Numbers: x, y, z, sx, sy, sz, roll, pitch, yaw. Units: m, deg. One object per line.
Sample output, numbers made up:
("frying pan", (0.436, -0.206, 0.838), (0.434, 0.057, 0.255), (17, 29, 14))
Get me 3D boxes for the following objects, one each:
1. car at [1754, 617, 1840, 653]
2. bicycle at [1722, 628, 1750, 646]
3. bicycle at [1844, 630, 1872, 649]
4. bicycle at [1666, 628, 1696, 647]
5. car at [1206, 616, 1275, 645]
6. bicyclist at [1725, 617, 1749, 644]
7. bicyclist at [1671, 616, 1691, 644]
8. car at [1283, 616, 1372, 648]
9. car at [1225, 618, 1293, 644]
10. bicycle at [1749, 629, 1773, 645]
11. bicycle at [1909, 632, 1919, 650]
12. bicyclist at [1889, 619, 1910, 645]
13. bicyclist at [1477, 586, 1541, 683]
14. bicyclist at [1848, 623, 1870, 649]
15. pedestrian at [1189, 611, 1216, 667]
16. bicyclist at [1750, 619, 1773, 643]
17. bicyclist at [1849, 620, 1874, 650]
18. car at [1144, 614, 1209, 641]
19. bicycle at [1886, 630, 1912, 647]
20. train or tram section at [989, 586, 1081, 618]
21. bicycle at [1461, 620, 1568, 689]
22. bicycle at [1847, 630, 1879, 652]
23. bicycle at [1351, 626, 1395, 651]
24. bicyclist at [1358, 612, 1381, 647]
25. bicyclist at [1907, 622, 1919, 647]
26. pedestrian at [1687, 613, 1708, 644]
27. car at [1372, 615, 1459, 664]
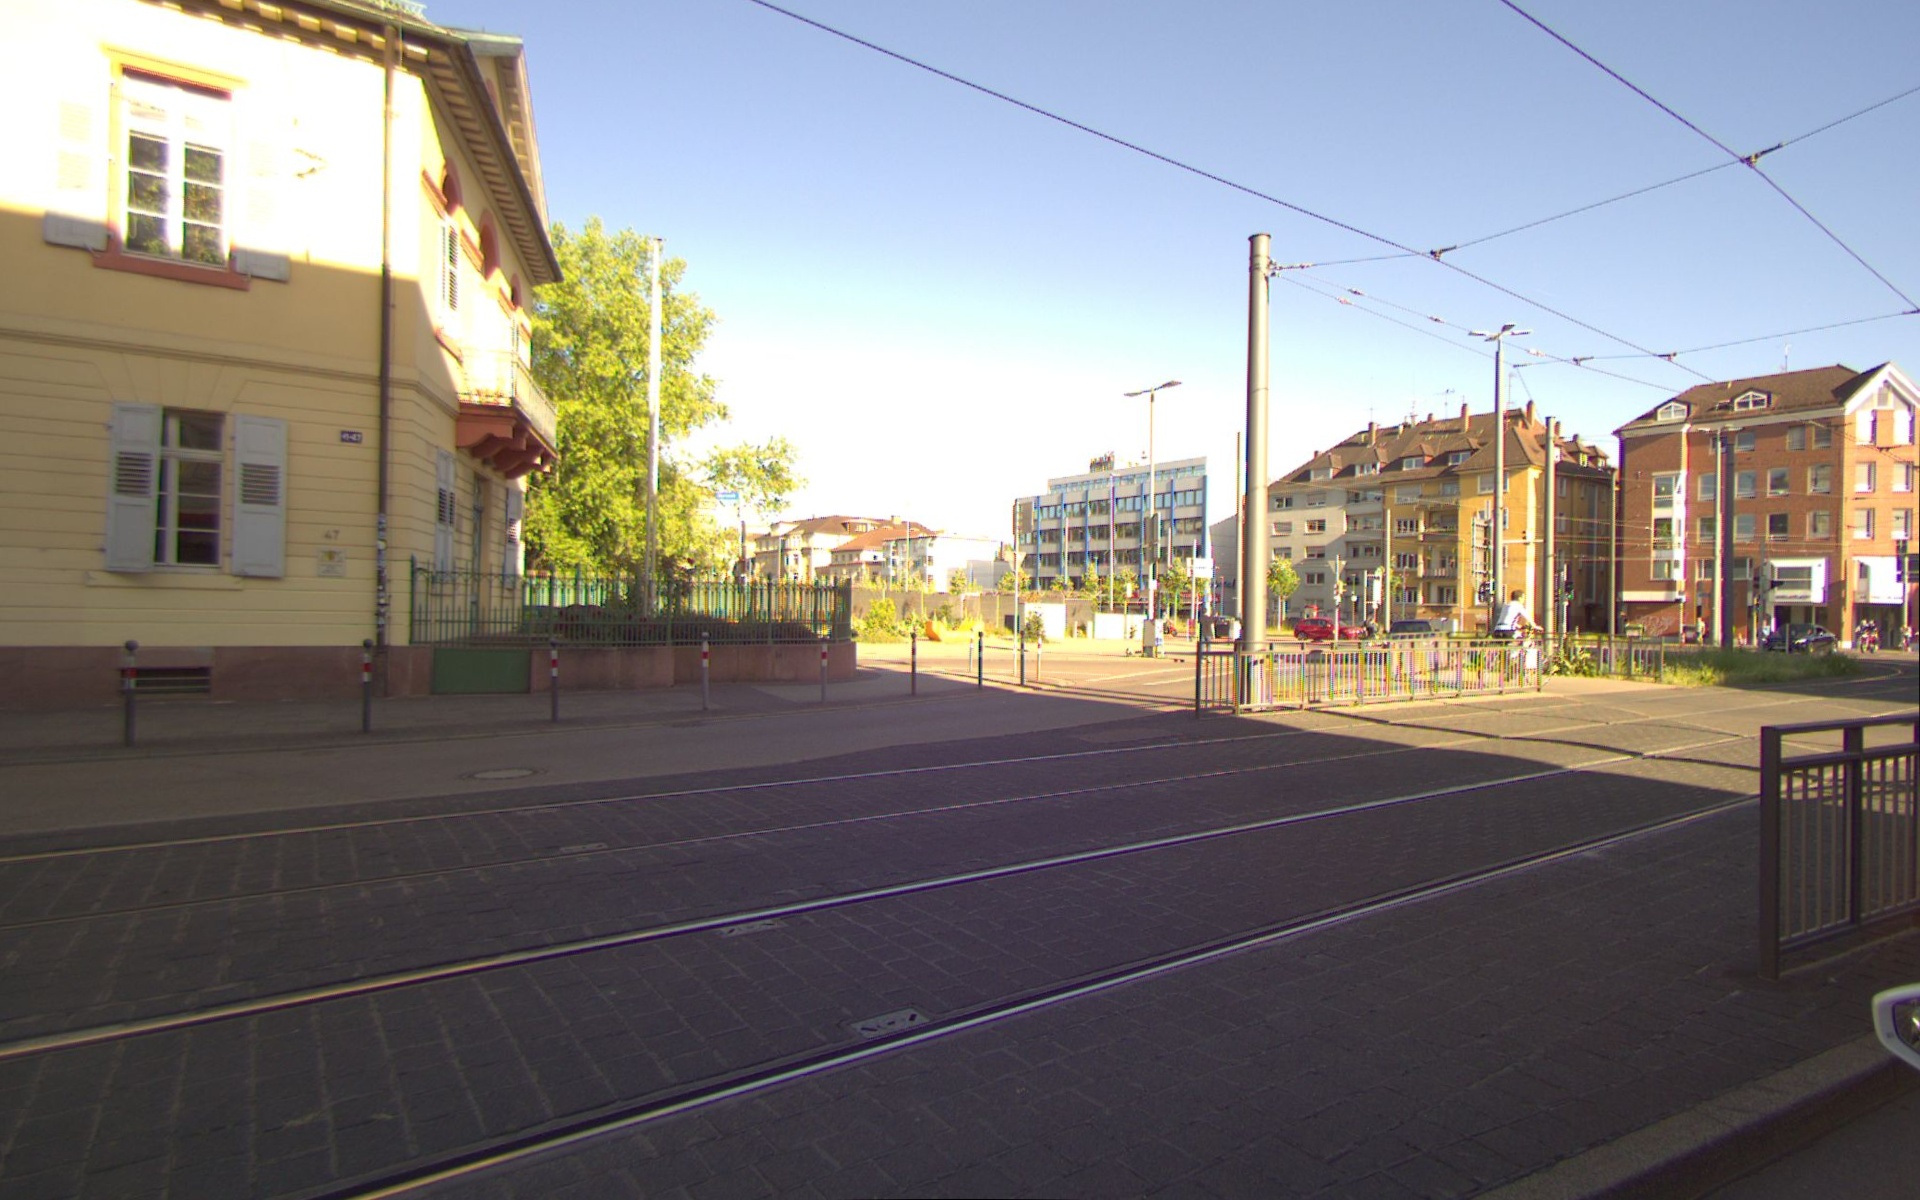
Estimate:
("car", (38.637, 1.625, 46.377), (3.987, 1.547, 1.703), (2, 0, -29))
("bicycle", (45.536, 2.162, 58.920), (2.220, 0.984, 0.521), (2, 0, -31))
("bicycle", (55.089, 2.430, 61.618), (2.197, 1.103, 0.535), (2, 0, -28))
("bicycle", (39.763, 2.060, 55.385), (2.220, 0.984, 0.444), (2, 0, -31))
("car", (18.012, 1.935, 64.582), (1.762, 1.694, 3.955), (2, 0, -39))
("bicyclist", (45.542, 1.782, 58.892), (0.688, 1.523, 0.894), (2, 0, -30))
("bicyclist", (39.771, 1.644, 55.397), (0.688, 1.523, 0.630), (2, 0, -30))
("car", (21.876, 1.879, 59.903), (1.984, 1.723, 4.545), (2, 0, -41))
("car", (19.790, 2.038, 66.655), (1.781, 1.503, 3.949), (2, 0, -43))
("bicycle", (50.377, 2.333, 63.146), (1.669, 0.994, 0.403), (2, 0, -22))
("bicycle", (62.907, 2.682, 65.663), (2.255, 1.103, 0.527), (2, 0, -28))
("bicyclist", (59.770, 2.031, 63.920), (0.737, 1.584, 0.781), (1, 0, -28))
("bicyclist", (10.418, 0.645, 19.085), (0.739, 1.783, 0.758), (2, 0, -7))
("bicyclist", (55.137, 2.194, 61.607), (0.737, 1.584, 0.781), (2, 0, -28))
("pedestrian", (7.571, 1.202, 31.351), (0.758, 1.703, 0.593), (2, 0, 12))
("bicyclist", (50.360, 1.950, 63.118), (0.958, 1.490, 0.702), (1, -1, -22))
("bicyclist", (47.262, 1.839, 52.638), (0.581, 1.547, 0.783), (2, 0, -25))
("car", (14.751, 1.863, 68.574), (1.895, 1.708, 3.916), (2, 0, -41))
("bicycle", (59.744, 2.454, 63.903), (2.255, 1.103, 0.527), (1, -1, -28))
("train or tram section", (8.007, 0.164, 108.763), (2.784, 3.172, 11.129), (2, 0, -41))
("bicycle", (10.537, 1.034, 19.092), (1.820, 1.238, 0.485), (2, 0, -7))
("bicycle", (47.264, 2.155, 52.554), (2.172, 1.108, 0.457), (2, 0, -26))
("bicycle", (22.357, 2.084, 54.457), (0.542, 1.230, 2.168), (2, 0, -41))
("bicyclist", (22.244, 1.595, 54.586), (0.785, 1.832, 0.892), (2, 0, -43))
("bicyclist", (62.377, 2.263, 65.427), (0.737, 1.584, 0.781), (1, 0, -28))
("pedestrian", (45.966, 1.771, 62.609), (0.737, 1.845, 0.781), (2, 0, -28))
("car", (15.869, 1.352, 34.913), (1.622, 1.546, 3.844), (2, 0, 42))
